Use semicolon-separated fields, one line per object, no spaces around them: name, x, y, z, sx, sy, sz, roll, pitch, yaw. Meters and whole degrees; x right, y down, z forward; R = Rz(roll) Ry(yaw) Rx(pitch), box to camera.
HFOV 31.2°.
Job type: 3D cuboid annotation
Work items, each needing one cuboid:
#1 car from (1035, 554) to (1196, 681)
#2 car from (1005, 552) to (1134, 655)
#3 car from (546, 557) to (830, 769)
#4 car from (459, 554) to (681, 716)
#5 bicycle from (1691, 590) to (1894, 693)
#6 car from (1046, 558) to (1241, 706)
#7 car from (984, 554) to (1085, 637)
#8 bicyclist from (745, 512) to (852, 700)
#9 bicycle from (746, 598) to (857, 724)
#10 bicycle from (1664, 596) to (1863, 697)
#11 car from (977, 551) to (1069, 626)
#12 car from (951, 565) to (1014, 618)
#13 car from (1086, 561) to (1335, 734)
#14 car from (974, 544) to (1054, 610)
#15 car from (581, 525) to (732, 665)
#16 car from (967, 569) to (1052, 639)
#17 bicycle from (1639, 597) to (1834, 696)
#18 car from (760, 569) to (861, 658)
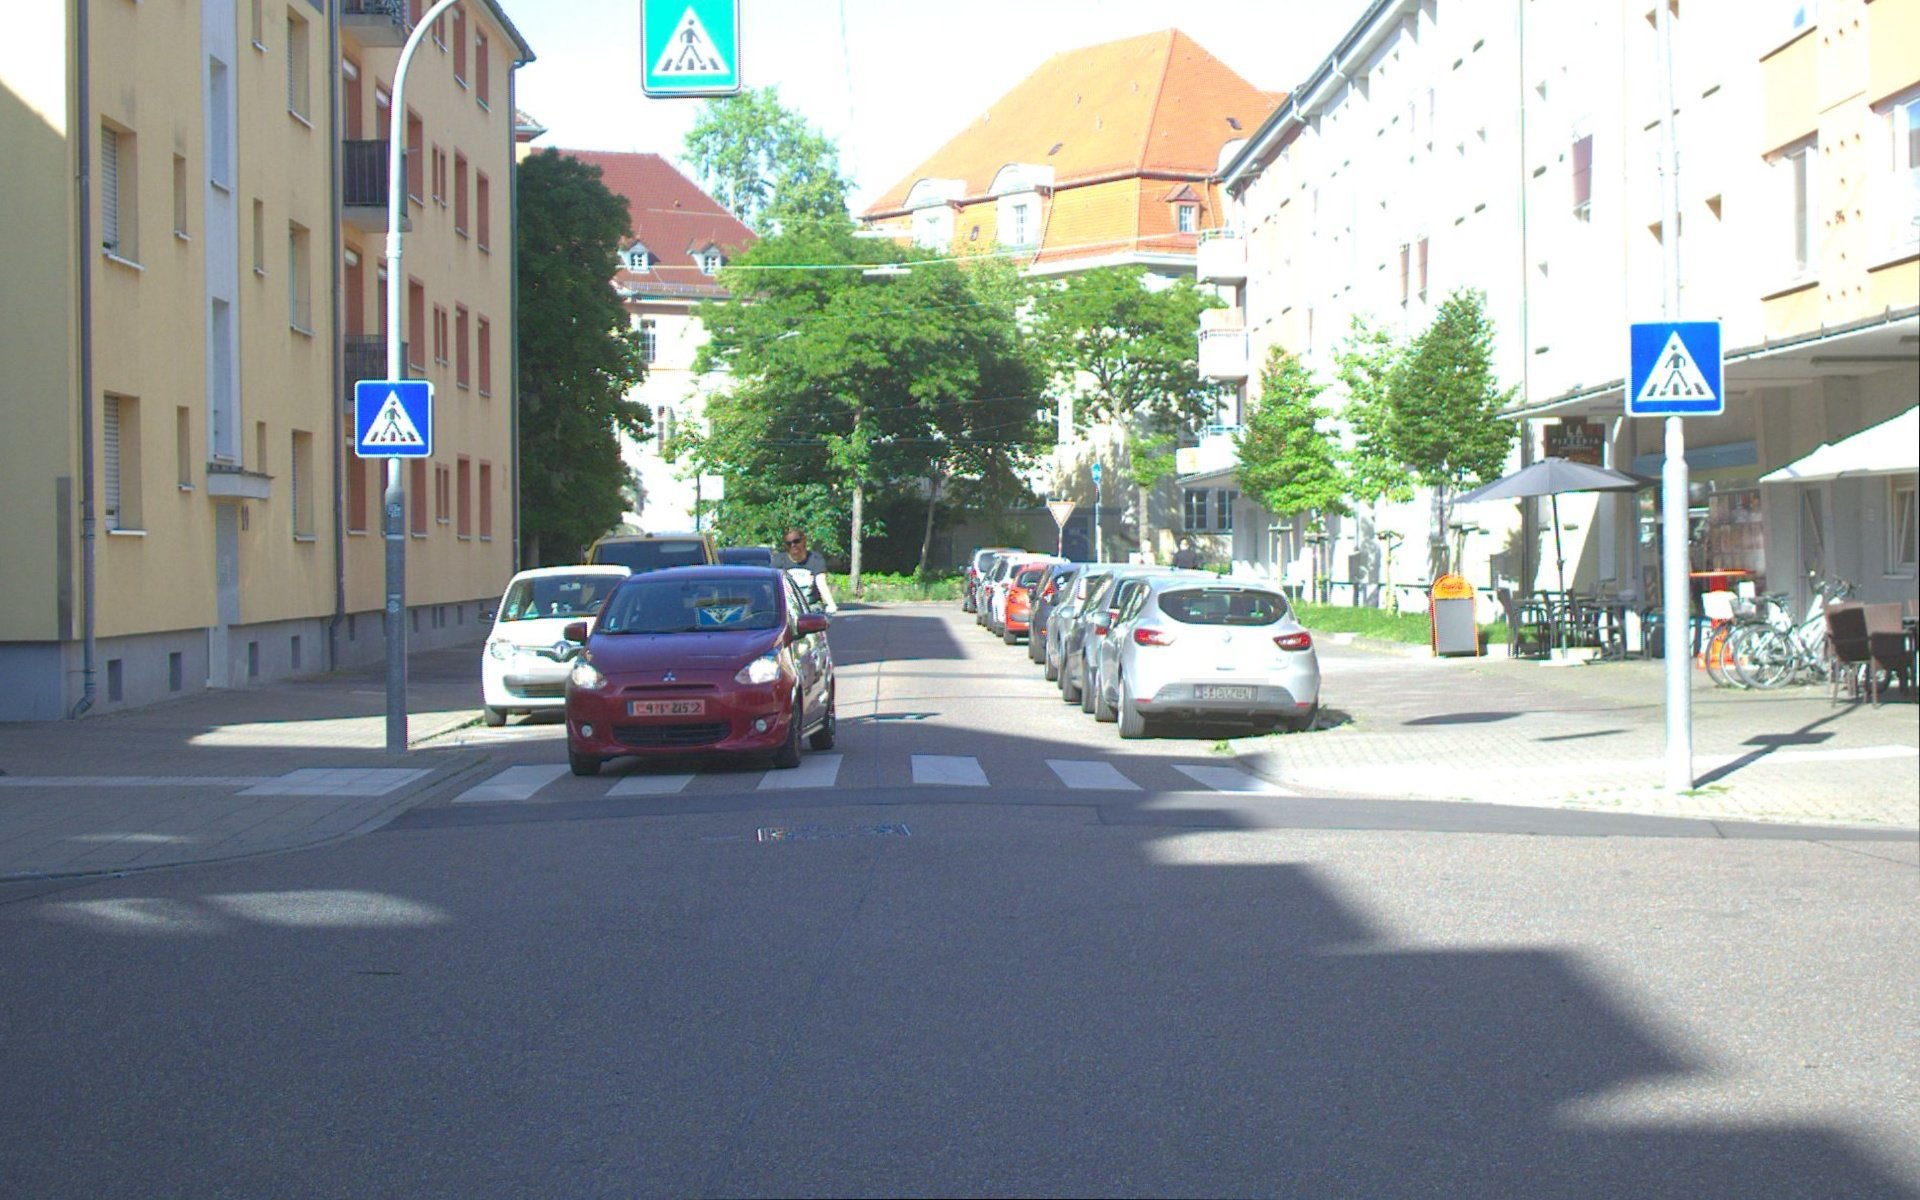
car;1.840;0.191;41.486;1.637;1.436;3.419;-1;0;-2
car;1.579;0.038;50.554;1.637;1.436;3.419;-1;0;-2
car;-1.934;0.423;25.345;1.697;1.436;3.419;-1;0;2
car;-3.918;0.311;35.116;1.791;1.475;4.099;-2;1;-1
bicycle;8.166;0.398;33.752;1.806;0.964;0.674;-1;0;-11
car;1.855;0.307;35.622;1.690;1.436;3.419;-1;0;-2
car;1.327;-0.086;62.157;1.637;1.436;3.419;-1;0;-2
bicyclist;-1.430;0.044;30.612;0.786;1.615;0.956;-2;0;4
bicycle;-1.401;0.523;30.614;0.778;1.066;1.789;-1;0;4
bicycle;8.032;0.455;34.380;1.806;0.964;0.674;-1;0;-11
car;1.230;-0.241;68.479;1.637;1.436;3.419;-1;0;-2
car;0.620;-0.236;96.738;1.637;1.436;3.419;-1;0;-2
car;2.189;0.390;30.886;1.845;1.436;3.419;-1;0;-2
car;1.203;-0.526;77.534;1.637;1.436;3.419;-1;0;-2
car;-4.054;-0.078;46.473;1.697;1.773;4.099;-1;0;-1
car;1.022;0.069;73.070;1.637;1.436;3.419;-1;0;-2
bicycle;7.905;0.470;35.007;1.806;0.964;0.674;-1;0;-11
car;-2.522;0.211;58.035;1.637;1.436;3.419;-1;0;-2
